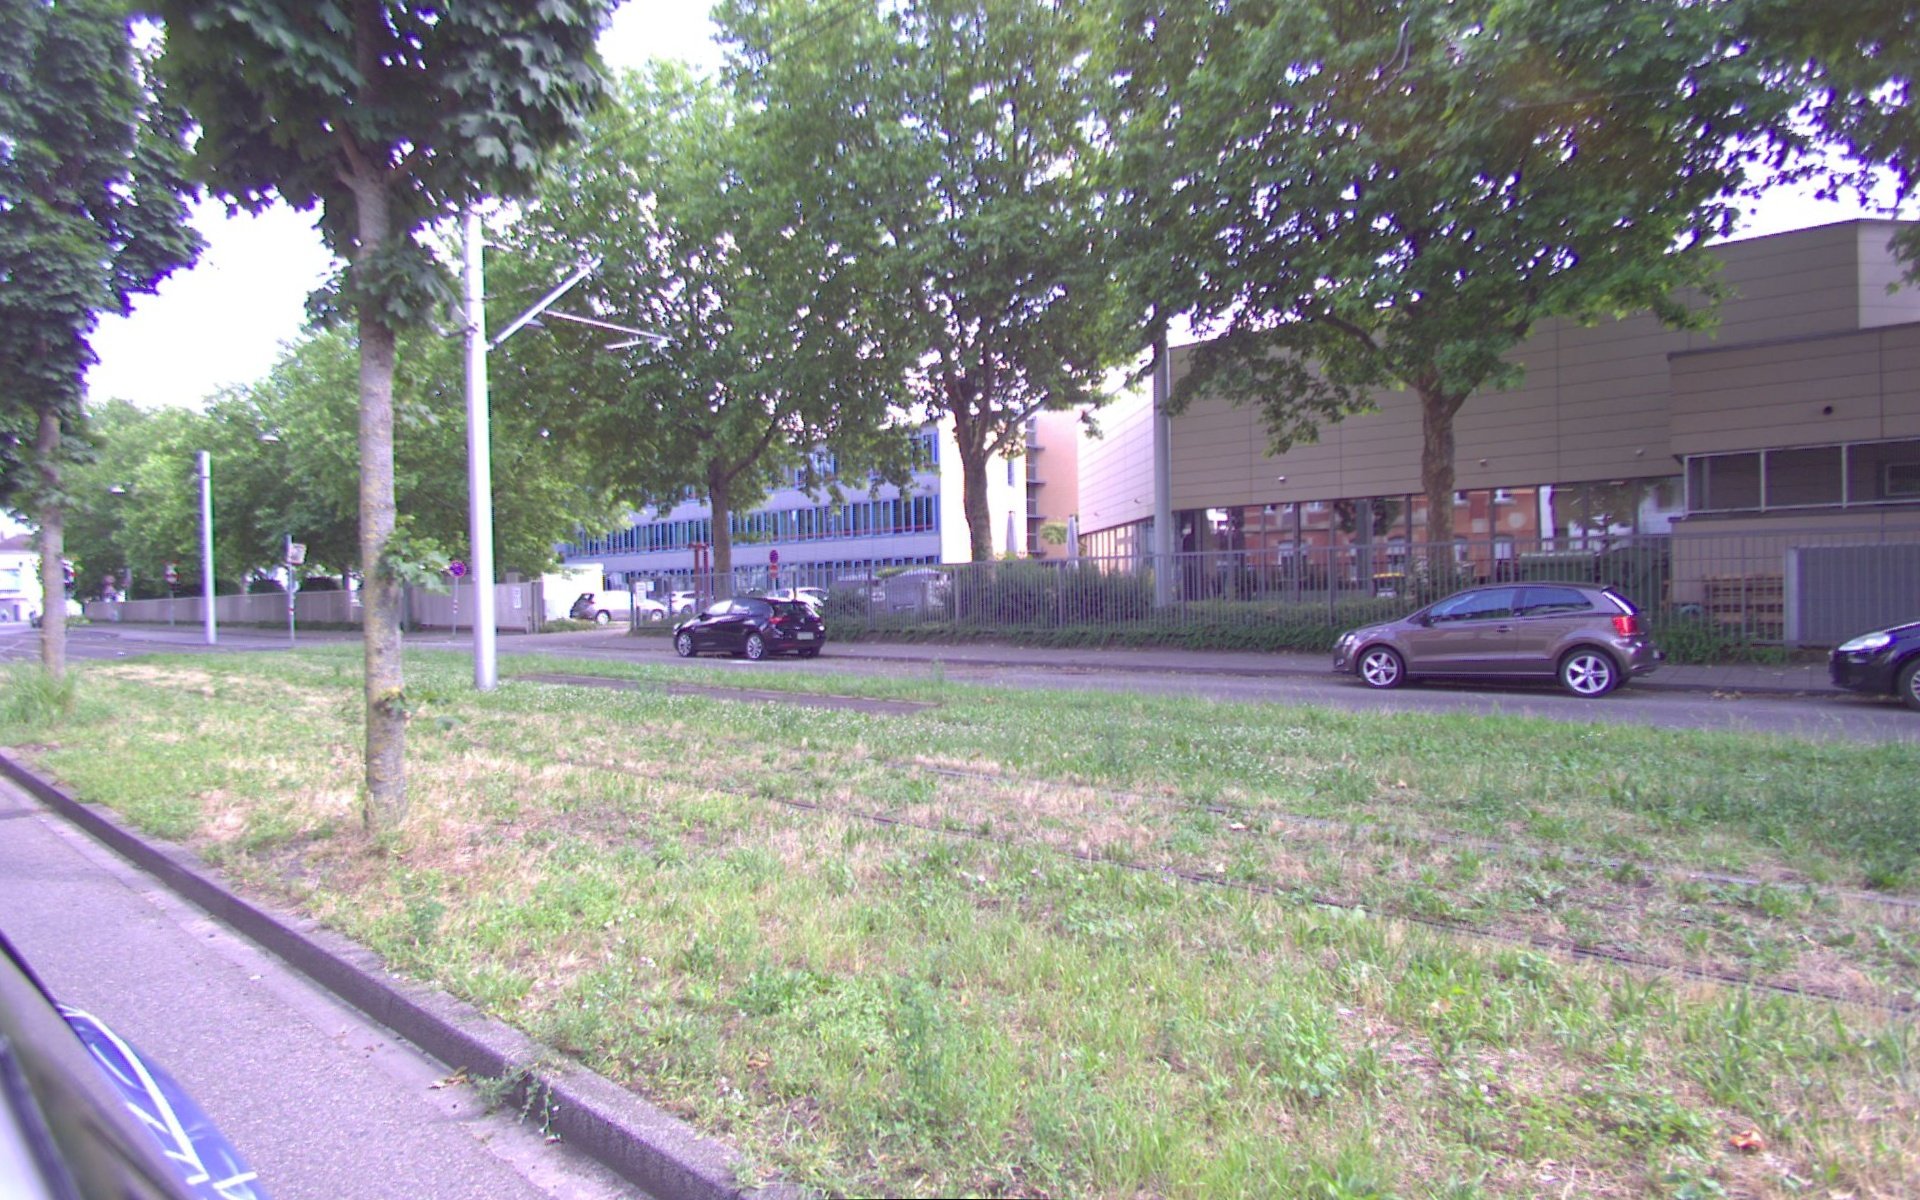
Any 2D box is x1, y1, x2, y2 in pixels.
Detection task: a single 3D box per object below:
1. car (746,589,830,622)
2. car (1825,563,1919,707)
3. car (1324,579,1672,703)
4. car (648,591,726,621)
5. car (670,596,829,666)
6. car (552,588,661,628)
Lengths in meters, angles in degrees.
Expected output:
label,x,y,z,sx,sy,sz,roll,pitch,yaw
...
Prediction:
label,x,y,z,sx,sy,sz,roll,pitch,yaw
car,-8.760,0.247,51.719,1.998,1.630,3.948,-1,0,38
car,11.293,0.320,10.077,4.000,1.464,1.783,-1,0,43
car,7.144,0.495,13.653,3.899,1.436,1.538,-1,0,40
car,-15.825,0.338,58.833,1.998,1.630,3.948,-1,0,38
car,-5.006,0.687,23.762,3.999,1.475,1.580,-1,0,42
car,-15.018,0.331,43.121,1.998,1.630,3.948,-1,0,38
